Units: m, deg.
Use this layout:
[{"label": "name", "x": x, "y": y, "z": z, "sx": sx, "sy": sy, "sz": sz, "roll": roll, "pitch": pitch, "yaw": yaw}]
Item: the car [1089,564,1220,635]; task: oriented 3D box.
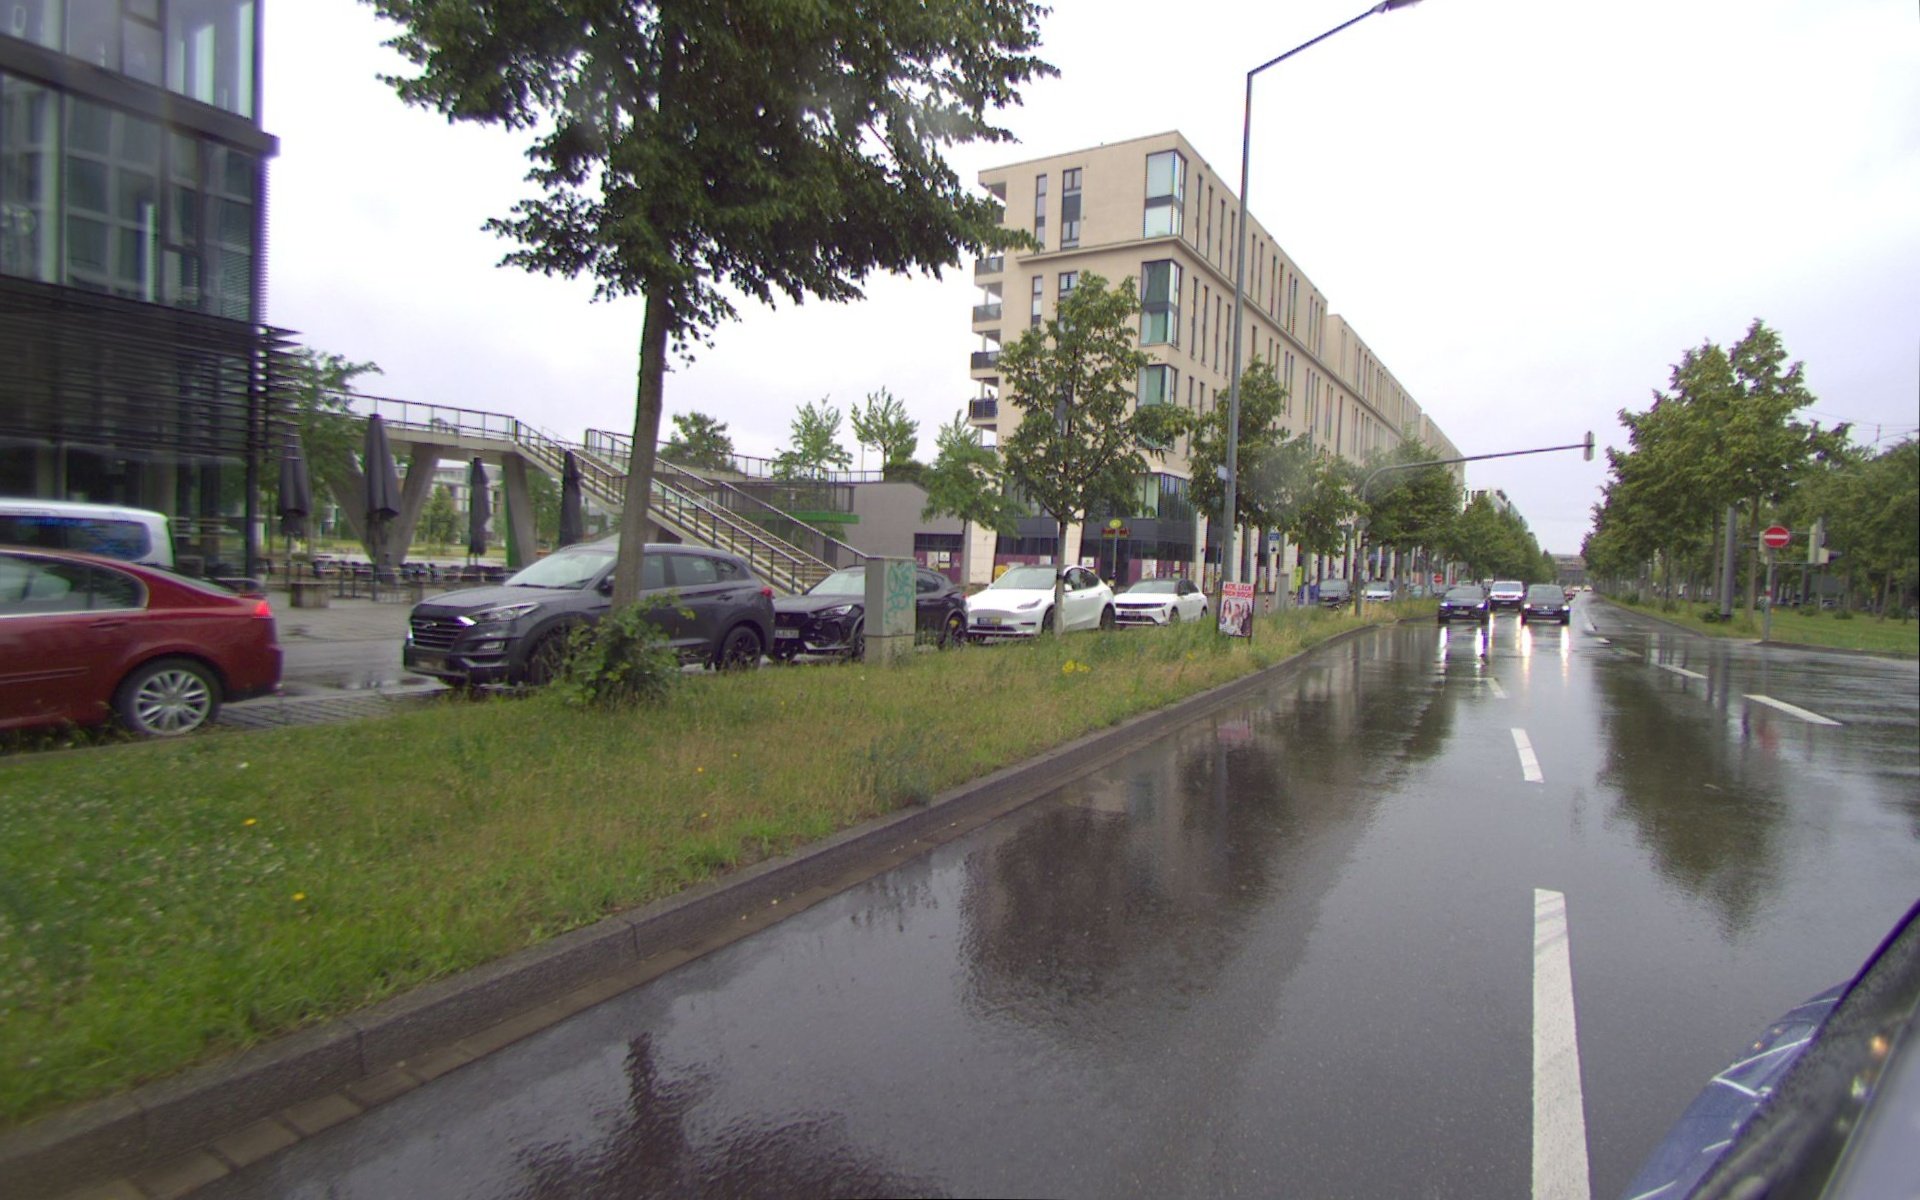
[{"label": "car", "x": 5.496, "y": 0.025, "z": 28.102, "sx": 1.985, "sy": 1.729, "sz": 4.784, "roll": 3, "pitch": 0, "yaw": 31}]

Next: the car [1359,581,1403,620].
[{"label": "car", "x": 23.567, "y": 0.048, "z": 56.540, "sx": 1.899, "sy": 2.039, "sz": 3.961, "roll": 3, "pitch": 0, "yaw": 27}]

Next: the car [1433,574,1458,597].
[{"label": "car", "x": 39.536, "y": -1.170, "z": 82.394, "sx": 1.629, "sy": 1.608, "sz": 3.891, "roll": 3, "pitch": 0, "yaw": 28}]

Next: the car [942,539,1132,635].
[{"label": "car", "x": 1.761, "y": -0.219, "z": 21.284, "sx": 1.985, "sy": 1.729, "sz": 4.784, "roll": 3, "pitch": 0, "yaw": 31}]

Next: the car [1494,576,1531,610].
[{"label": "car", "x": 34.753, "y": -0.430, "z": 63.610, "sx": 1.745, "sy": 1.950, "sz": 3.953, "roll": 3, "pitch": 0, "yaw": 32}]

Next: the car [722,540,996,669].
[{"label": "car", "x": -1.433, "y": 0.082, "z": 16.430, "sx": 1.985, "sy": 1.729, "sz": 4.670, "roll": 3, "pitch": 0, "yaw": 31}]

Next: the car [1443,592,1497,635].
[{"label": "car", "x": 20.474, "y": 0.541, "z": 40.546, "sx": 1.674, "sy": 1.548, "sz": 3.925, "roll": 3, "pitch": 0, "yaw": 30}]

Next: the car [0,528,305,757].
[{"label": "car", "x": -7.358, "y": 0.234, "z": 6.528, "sx": 1.986, "sy": 1.472, "sz": 4.902, "roll": 3, "pitch": 2, "yaw": 32}]

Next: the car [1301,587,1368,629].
[{"label": "car", "x": 17.349, "y": 0.403, "z": 46.764, "sx": 1.985, "sy": 1.729, "sz": 4.784, "roll": 3, "pitch": 0, "yaw": 31}]

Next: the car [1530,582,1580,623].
[{"label": "car", "x": 24.735, "y": 0.137, "z": 42.133, "sx": 1.645, "sy": 1.548, "sz": 3.734, "roll": 3, "pitch": 0, "yaw": 30}]

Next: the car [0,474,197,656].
[{"label": "car", "x": -11.057, "y": -0.417, "z": 10.458, "sx": 1.883, "sy": 1.889, "sz": 4.674, "roll": 3, "pitch": 0, "yaw": 29}]

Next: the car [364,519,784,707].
[{"label": "car", "x": -4.211, "y": 0.126, "z": 11.720, "sx": 1.985, "sy": 1.729, "sz": 4.170, "roll": 3, "pitch": 0, "yaw": 31}]
